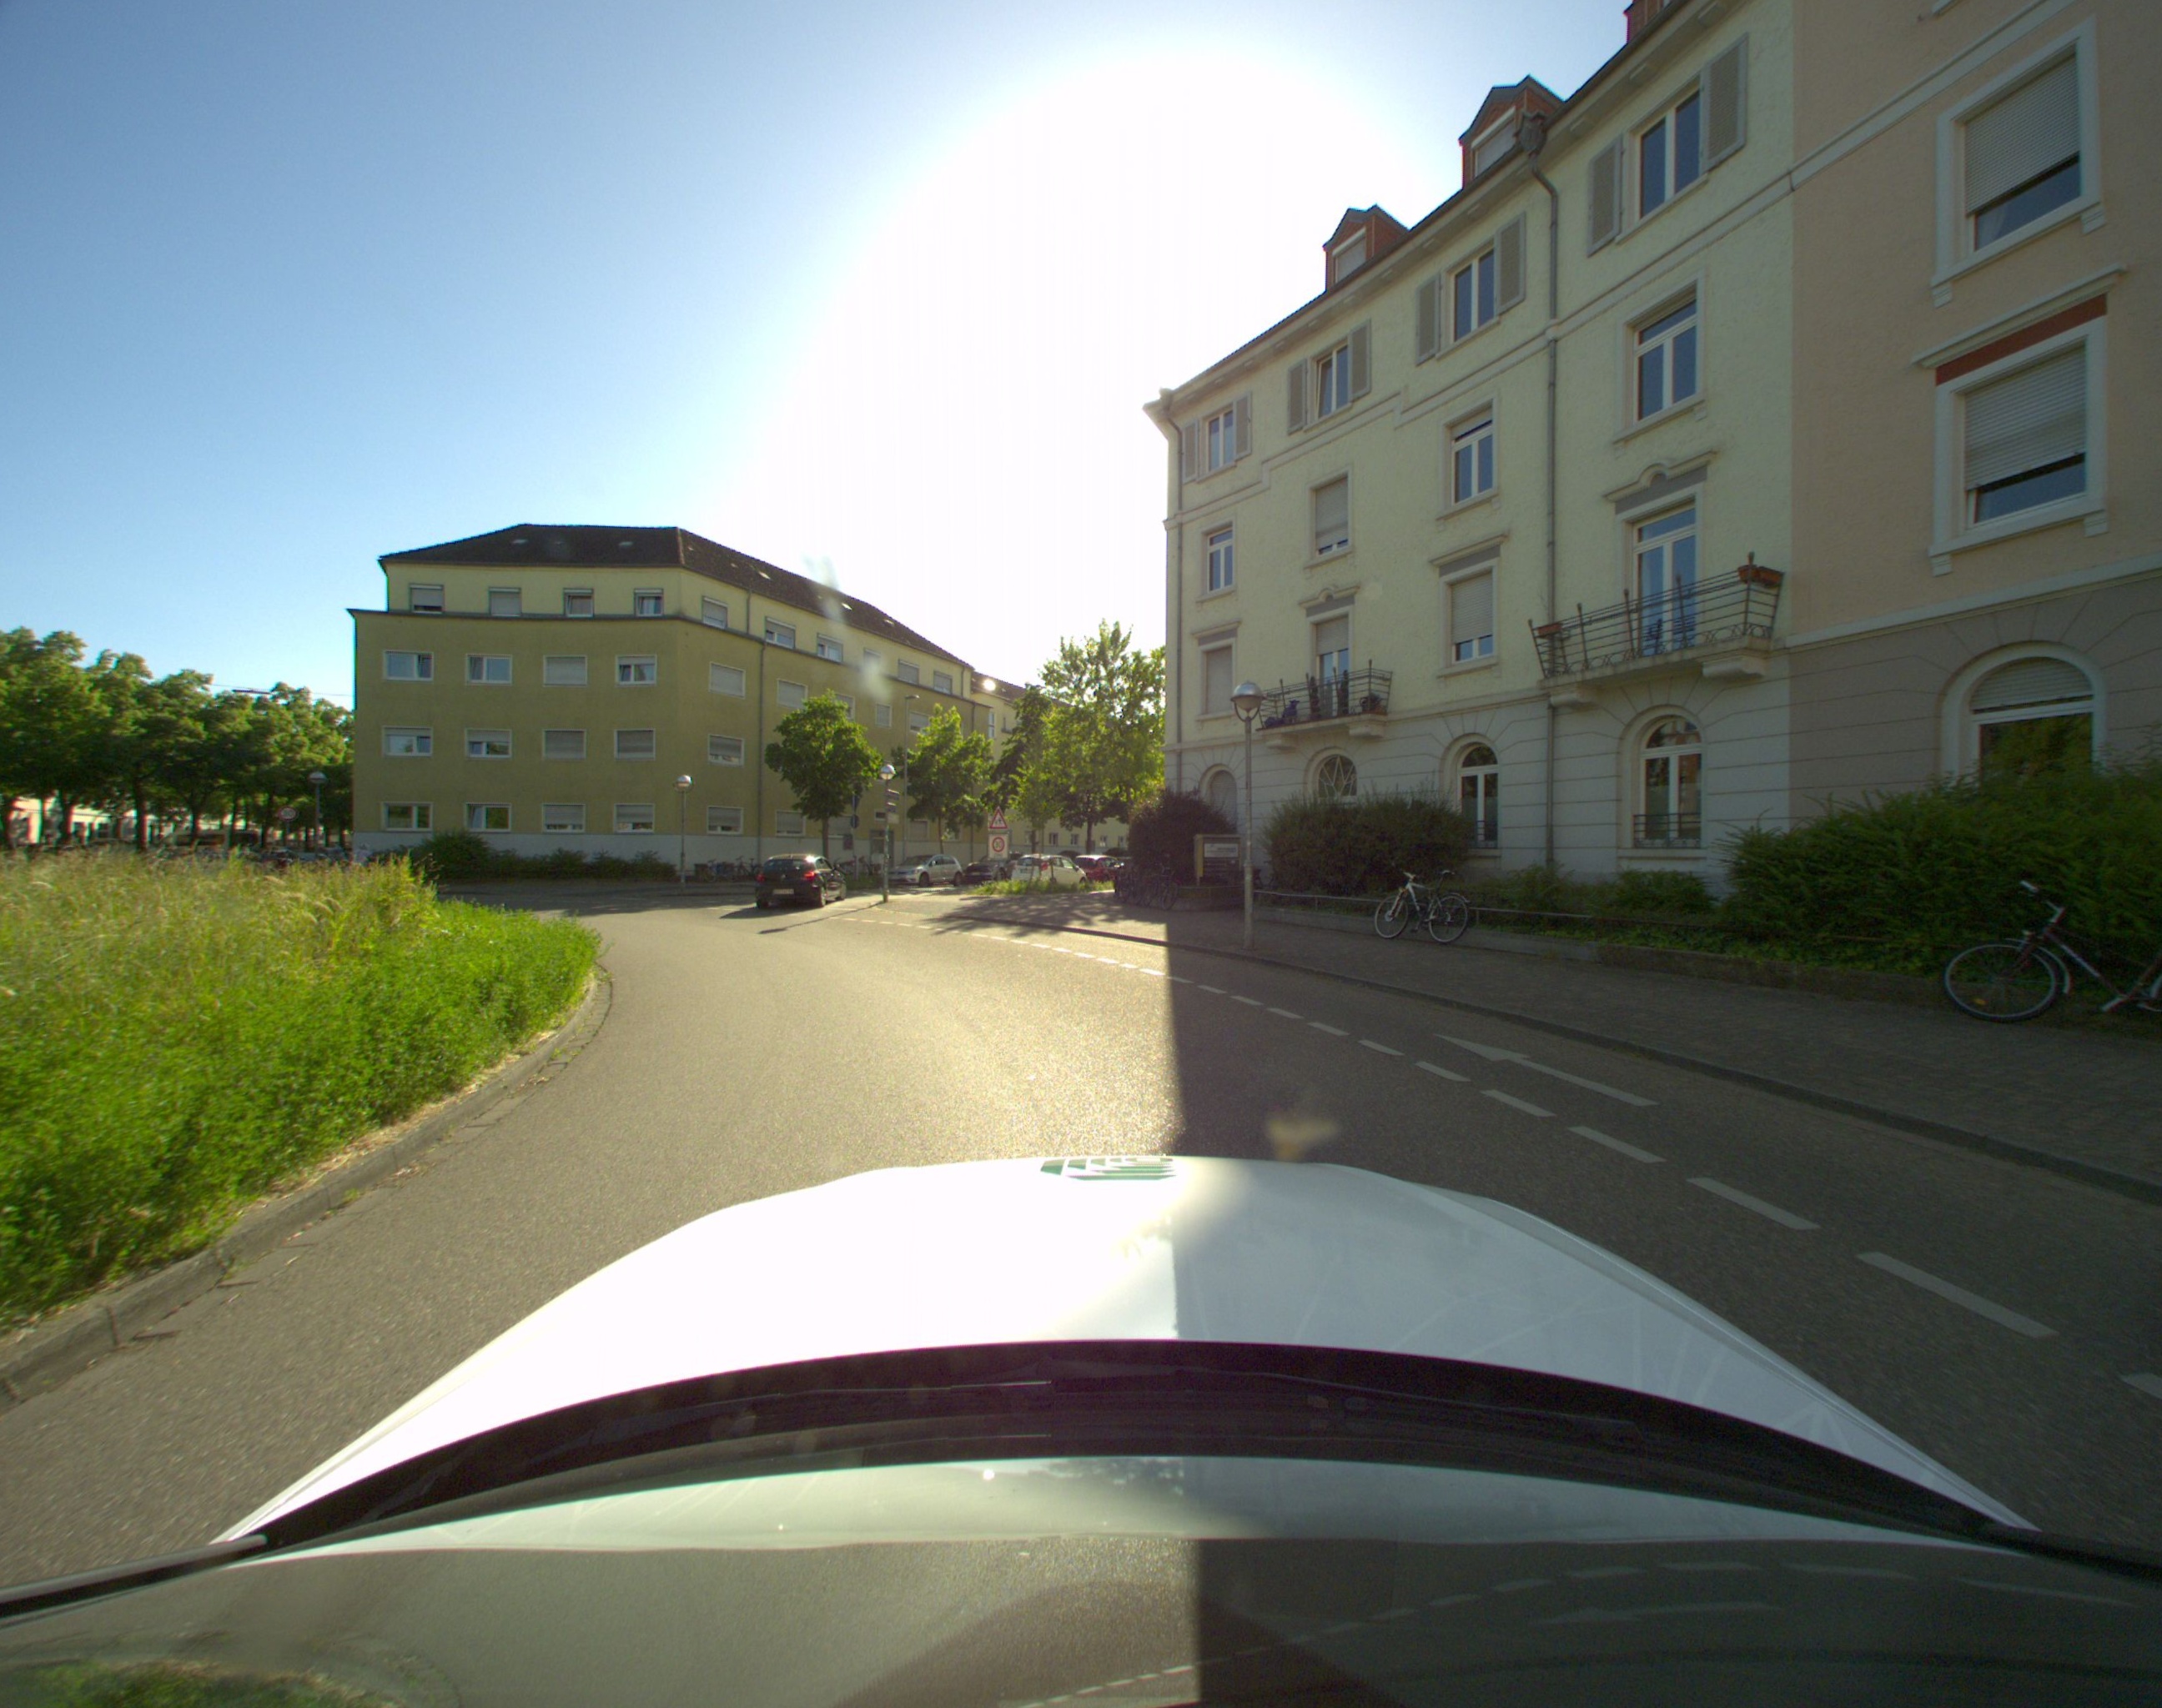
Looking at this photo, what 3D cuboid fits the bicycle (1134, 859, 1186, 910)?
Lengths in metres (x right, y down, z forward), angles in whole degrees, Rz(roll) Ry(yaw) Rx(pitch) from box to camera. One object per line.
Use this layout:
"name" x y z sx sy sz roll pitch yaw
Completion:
"bicycle" 1.830 0.691 19.142 0.500 1.107 1.788 -1 0 -19

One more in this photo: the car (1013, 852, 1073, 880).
"car" -2.079 0.666 45.712 1.778 1.510 4.022 -1 0 24

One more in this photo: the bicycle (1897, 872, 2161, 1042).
"bicycle" 7.188 0.696 5.940 0.503 1.088 1.674 -2 0 -22

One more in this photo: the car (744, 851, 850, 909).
"car" -7.752 0.652 22.642 1.862 1.419 3.992 -1 0 -6

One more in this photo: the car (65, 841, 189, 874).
"car" -48.868 0.161 41.820 3.690 1.637 1.718 0 -1 -25

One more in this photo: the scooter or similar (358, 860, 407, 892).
"scooter or similar" -23.682 0.749 27.645 0.916 1.023 0.895 -1 1 -13

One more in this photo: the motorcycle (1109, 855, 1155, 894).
"motorcycle" 1.650 0.650 26.064 0.877 1.191 1.499 -2 -1 29

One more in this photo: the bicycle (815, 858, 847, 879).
"bicycle" -12.240 0.695 39.929 0.494 1.026 1.459 0 0 39

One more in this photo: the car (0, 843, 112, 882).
"car" -42.443 0.334 32.985 3.690 1.546 1.718 0 -1 -25

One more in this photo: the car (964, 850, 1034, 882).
"car" -4.104 0.596 41.479 1.778 1.576 4.022 -1 -1 24

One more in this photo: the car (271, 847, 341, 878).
"car" -38.307 0.427 40.360 1.742 1.439 4.342 0 -1 -33

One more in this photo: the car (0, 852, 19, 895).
"car" -41.170 0.717 28.999 3.685 1.546 1.721 0 -1 -20

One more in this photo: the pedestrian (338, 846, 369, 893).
"pedestrian" -24.424 0.501 27.356 0.653 1.523 0.690 -2 1 -33

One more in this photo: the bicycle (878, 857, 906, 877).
"bicycle" -10.131 0.690 43.678 0.494 1.026 1.459 0 0 39

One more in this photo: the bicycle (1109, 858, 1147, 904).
"bicycle" 1.188 0.665 20.944 0.499 1.107 1.792 -1 0 -13

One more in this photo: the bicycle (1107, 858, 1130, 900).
"bicycle" 1.079 0.684 23.202 0.496 1.107 1.954 -1 0 7

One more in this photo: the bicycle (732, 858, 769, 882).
"bicycle" -14.619 0.697 35.995 1.454 1.026 0.495 0 0 -32

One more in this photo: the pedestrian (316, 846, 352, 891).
"pedestrian" -26.068 0.480 28.423 0.830 1.523 0.689 -2 1 -37

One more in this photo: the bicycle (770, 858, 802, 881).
"bicycle" -13.595 0.694 37.542 0.494 1.026 1.458 0 0 26

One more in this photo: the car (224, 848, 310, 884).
"car" -34.914 0.516 35.067 1.742 1.439 4.342 0 -1 -33

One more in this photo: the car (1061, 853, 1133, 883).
"car" 0.777 0.605 36.384 1.778 1.255 3.740 -1 0 26

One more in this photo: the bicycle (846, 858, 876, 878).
"bicycle" -11.255 0.700 41.739 0.494 1.026 1.459 0 0 39

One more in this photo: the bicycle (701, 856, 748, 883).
"bicycle" -15.119 0.659 34.550 1.806 1.107 0.495 0 0 -32

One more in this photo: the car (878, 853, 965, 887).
"car" -6.942 0.682 35.942 1.782 1.411 4.022 0 -1 24

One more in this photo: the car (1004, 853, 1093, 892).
"car" -1.205 0.695 32.262 1.777 1.413 4.024 0 0 27

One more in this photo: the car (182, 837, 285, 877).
"car" -32.233 0.130 31.118 1.739 1.411 4.443 0 0 -33

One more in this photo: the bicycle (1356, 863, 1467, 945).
"bicycle" 4.803 0.689 11.942 0.502 1.088 1.675 -2 0 -20

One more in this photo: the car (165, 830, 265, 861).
"car" -55.980 -0.526 52.703 4.170 1.988 2.173 0 -1 1

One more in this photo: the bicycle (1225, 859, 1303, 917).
"bicycle" 3.799 0.680 16.866 1.688 1.107 0.495 -1 0 -31
